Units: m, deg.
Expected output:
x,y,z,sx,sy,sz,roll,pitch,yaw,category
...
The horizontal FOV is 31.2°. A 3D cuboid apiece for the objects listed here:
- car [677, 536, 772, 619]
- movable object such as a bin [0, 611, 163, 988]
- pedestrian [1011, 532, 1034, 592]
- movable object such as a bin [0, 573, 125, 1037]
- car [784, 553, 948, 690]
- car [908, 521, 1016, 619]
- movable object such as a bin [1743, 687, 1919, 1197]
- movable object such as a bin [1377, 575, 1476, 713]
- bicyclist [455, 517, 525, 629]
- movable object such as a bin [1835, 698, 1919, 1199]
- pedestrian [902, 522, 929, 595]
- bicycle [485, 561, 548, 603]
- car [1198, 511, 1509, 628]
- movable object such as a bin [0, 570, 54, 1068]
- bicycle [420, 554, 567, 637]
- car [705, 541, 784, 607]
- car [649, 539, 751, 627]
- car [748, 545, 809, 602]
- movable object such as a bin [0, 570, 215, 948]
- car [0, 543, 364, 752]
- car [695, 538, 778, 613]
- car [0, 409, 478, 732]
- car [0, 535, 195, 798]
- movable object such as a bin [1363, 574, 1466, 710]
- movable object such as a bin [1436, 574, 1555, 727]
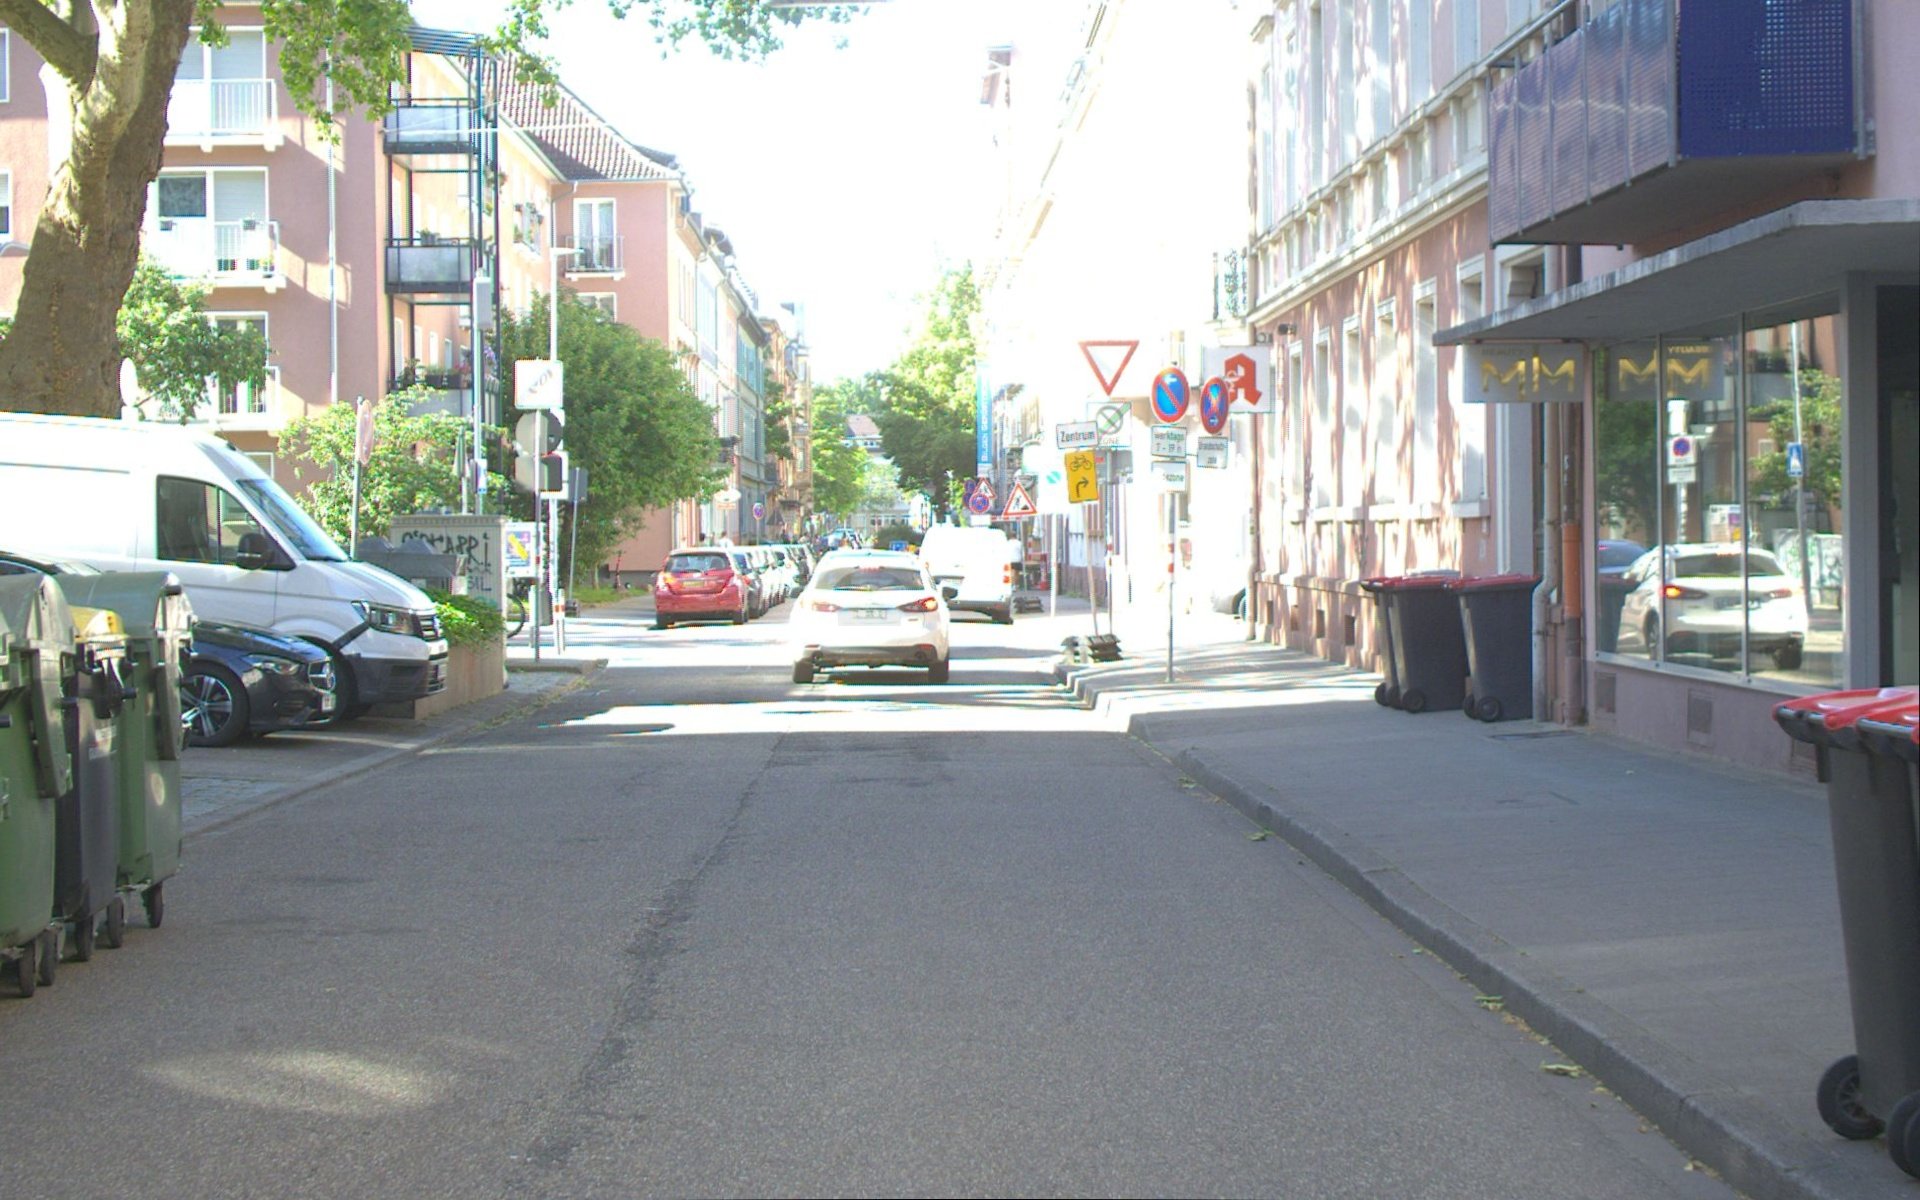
x,y,z,sx,sy,sz,roll,pitch,yaw,category
-4.922,-0.484,72.206,1.720,1.677,3.726,-1,1,0,car
-3.662,0.704,12.621,1.241,1.317,1.046,0,0,-1,movable object such as a bin
1.817,-1.109,100.641,0.617,1.727,0.560,-1,0,-2,pedestrian
-3.595,0.655,11.530,1.334,1.486,1.082,0,0,-1,movable object such as a bin
-1.115,0.218,40.671,1.823,1.509,3.824,-1,1,-2,car
0.003,-0.621,69.871,1.942,1.941,4.079,0,1,-3,car
2.257,0.752,7.839,0.768,1.083,0.693,-1,0,0,movable object such as a bin
3.702,0.344,27.319,0.701,1.069,0.596,-1,0,1,movable object such as a bin
-7.364,-0.421,53.864,0.924,1.714,0.942,-1,0,1,bicyclist
2.277,0.750,7.126,0.732,1.077,0.703,-1,0,0,movable object such as a bin
-1.291,-1.204,99.848,0.771,2.111,0.835,-1,0,0,pedestrian
-10.051,-0.412,77.845,0.603,0.929,1.915,-1,0,-34,bicycle
6.711,-0.503,58.614,4.896,1.922,1.997,0,-1,24,car
-3.557,0.658,10.462,1.343,1.494,1.018,0,0,-1,movable object such as a bin
-7.294,-0.071,53.837,2.163,1.251,0.833,-1,0,1,bicycle
-5.273,-0.636,84.504,1.720,1.571,3.726,-1,0,0,car
-5.008,-0.353,66.607,1.769,1.583,3.726,-1,2,-2,car
-5.202,-0.755,98.827,1.572,1.580,3.611,-1,0,0,car
-3.713,0.606,13.719,1.300,1.446,1.118,0,0,-4,movable object such as a bin
-7.136,0.311,27.027,4.500,1.465,1.929,2,1,0,car
-5.028,-0.554,77.720,1.635,1.650,3.785,-1,0,0,car
-7.752,-0.318,29.813,6.739,2.546,2.146,2,0,1,car
-7.341,0.372,22.076,4.465,1.604,1.916,1,0,-3,car
3.692,0.333,27.951,0.745,1.082,0.635,-1,0,1,movable object such as a bin
3.946,0.366,25.376,0.729,1.100,0.693,-1,0,-3,movable object such as a bin
